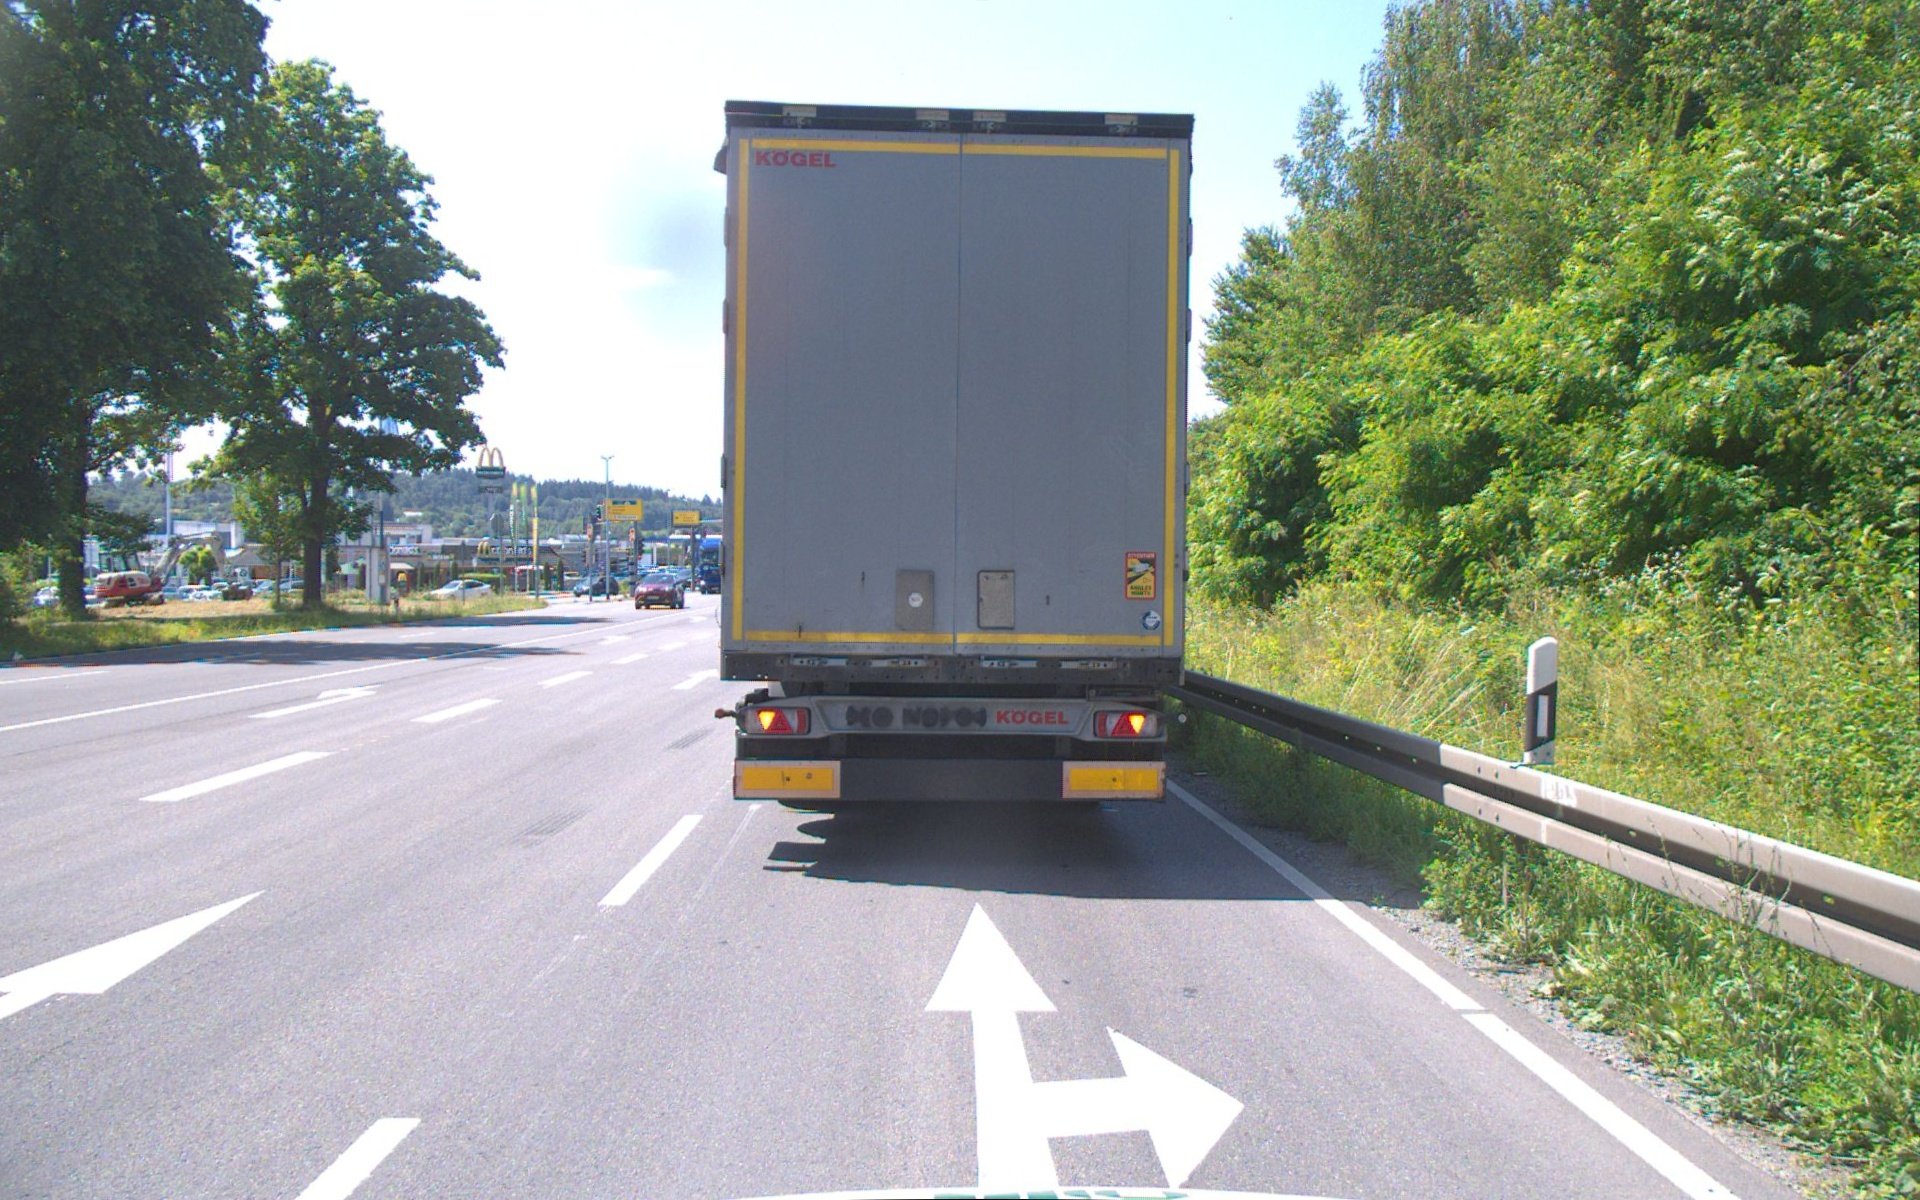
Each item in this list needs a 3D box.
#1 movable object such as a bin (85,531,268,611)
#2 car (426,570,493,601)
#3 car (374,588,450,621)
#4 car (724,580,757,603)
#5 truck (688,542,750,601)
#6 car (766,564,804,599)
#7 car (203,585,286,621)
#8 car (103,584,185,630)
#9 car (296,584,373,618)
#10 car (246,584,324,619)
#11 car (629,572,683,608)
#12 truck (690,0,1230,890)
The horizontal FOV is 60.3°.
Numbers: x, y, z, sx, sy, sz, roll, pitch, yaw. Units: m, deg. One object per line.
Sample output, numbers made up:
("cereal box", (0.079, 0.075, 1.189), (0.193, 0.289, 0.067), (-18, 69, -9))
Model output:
("movable object such as a bin", (-34.510, -1.290, 73.053), (2.994, 3.356, 6.761), (1, 1, 38))
("car", (-33.548, -0.985, 110.854), (1.959, 2.049, 3.988), (1, 1, 34))
("car", (-28.551, 0.224, 86.153), (3.919, 1.646, 1.833), (1, 1, 36))
("car", (-14.342, -0.547, 108.230), (1.731, 1.410, 3.998), (1, 0, -3))
("truck", (-18.395, -2.141, 127.424), (2.908, 4.249, 16.569), (0, 1, -2))
("car", (-10.598, -1.112, 100.590), (1.953, 2.049, 3.999), (1, 0, -2))
("car", (-34.869, 0.144, 80.543), (3.920, 1.680, 1.993), (1, 1, 36))
("car", (-38.024, 0.296, 77.038), (3.925, 2.049, 1.990), (1, 0, 39))
("car", (-32.021, 0.028, 84.640), (3.919, 1.646, 1.833), (1, 1, 36))
("car", (-33.555, 0.053, 82.190), (3.919, 1.646, 1.833), (1, 1, 36))
("car", (-13.532, -0.449, 73.720), (1.865, 1.535, 3.763), (0, 1, -3))
("truck", (-0.125, -0.866, 16.895), (2.700, 4.720, 16.651), (1, 0, -1))
